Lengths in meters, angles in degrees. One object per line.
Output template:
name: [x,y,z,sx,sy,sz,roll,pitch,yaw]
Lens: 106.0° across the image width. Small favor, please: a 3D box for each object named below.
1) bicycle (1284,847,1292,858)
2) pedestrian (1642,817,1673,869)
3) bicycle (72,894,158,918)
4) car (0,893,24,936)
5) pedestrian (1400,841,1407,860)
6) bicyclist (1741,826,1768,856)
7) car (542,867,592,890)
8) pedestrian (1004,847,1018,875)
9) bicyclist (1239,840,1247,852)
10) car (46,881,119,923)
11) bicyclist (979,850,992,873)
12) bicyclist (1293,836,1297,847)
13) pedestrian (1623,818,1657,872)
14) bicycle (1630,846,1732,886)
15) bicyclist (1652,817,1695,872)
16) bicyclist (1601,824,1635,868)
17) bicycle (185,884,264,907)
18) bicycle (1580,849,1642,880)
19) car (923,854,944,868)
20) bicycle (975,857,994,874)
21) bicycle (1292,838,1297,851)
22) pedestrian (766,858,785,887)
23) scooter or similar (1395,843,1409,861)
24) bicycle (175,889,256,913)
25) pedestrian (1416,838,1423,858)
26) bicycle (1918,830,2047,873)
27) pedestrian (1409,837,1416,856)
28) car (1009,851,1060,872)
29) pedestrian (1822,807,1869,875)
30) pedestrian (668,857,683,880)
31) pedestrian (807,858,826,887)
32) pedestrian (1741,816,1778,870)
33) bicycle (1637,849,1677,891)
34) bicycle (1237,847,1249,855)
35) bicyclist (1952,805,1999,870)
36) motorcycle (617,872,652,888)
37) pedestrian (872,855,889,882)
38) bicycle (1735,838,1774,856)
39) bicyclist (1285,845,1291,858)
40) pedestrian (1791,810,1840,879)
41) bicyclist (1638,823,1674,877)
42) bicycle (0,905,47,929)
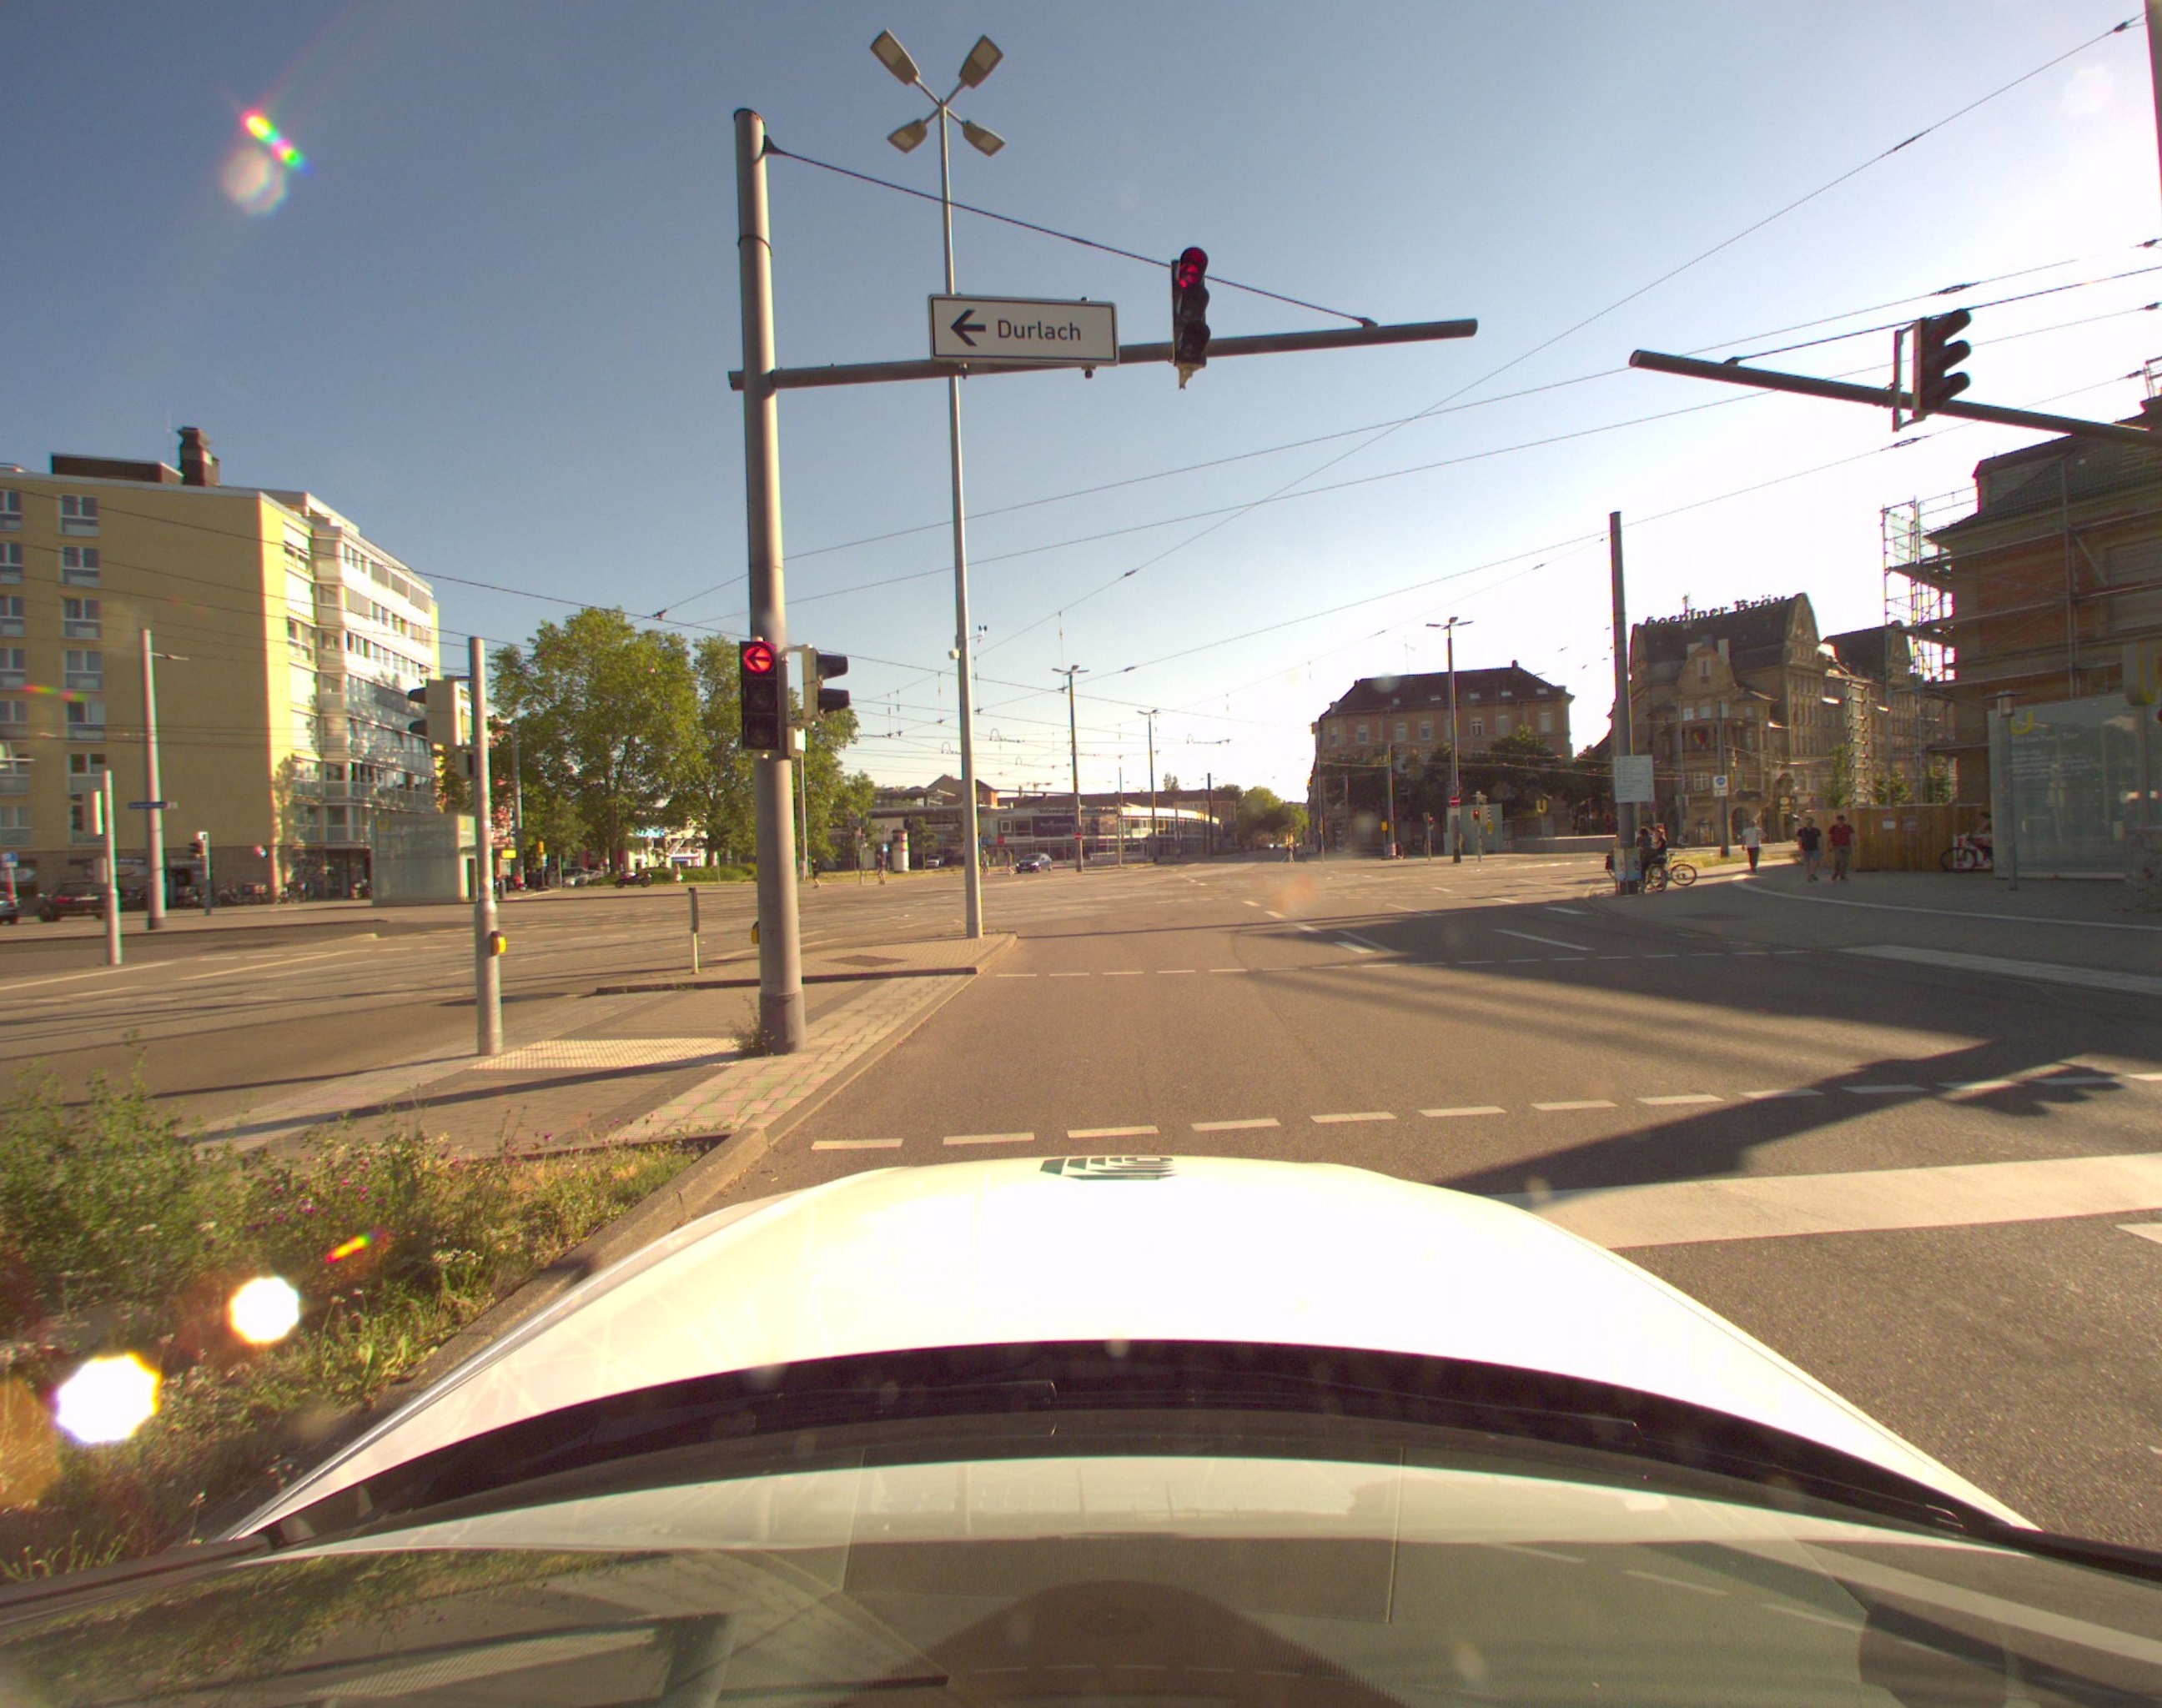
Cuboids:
bicycle: [17.105,-0.111,67.244,0.407,0.941,1.855,-1,-1,21]
pedestrian: [21.795,-0.414,30.821,0.646,1.922,0.689,0,-1,-6]
bicycle: [-50.297,2.708,42.447,3.041,1.151,0.637,0,-1,-16]
car: [-47.069,2.582,34.854,3.948,1.706,2.013,-1,-1,35]
pedestrian: [33.957,-0.403,85.839,0.598,2.013,0.649,-2,0,16]
bicyclist: [35.757,-0.669,43.250,1.046,1.547,0.842,0,-1,-34]
car: [-37.310,1.719,59.226,1.772,1.567,3.983,0,-1,-12]
pedestrian: [-4.791,0.452,55.565,0.790,1.886,0.760,-1,-1,9]
bicyclist: [21.107,-1.057,106.044,0.775,1.577,0.755,0,-1,-27]
car: [-44.224,2.073,36.039,3.948,1.706,1.730,-1,-1,35]
bicyclist: [-7.046,0.555,60.048,0.593,1.615,0.826,-1,-1,19]
bicyclist: [33.291,-1.933,126.889,0.595,1.809,0.830,-1,-1,15]
pedestrian: [21.039,-0.332,30.657,0.730,2.014,0.760,0,-1,-6]
bicycle: [17.350,0.363,23.624,2.290,1.049,0.705,-3,-2,32]
bicyclist: [17.228,-0.272,23.703,0.935,1.557,0.715,-1,-1,33]
bicyclist: [19.188,-0.267,29.096,0.514,1.557,0.945,0,-1,-6]
bicycle: [-46.508,2.259,44.249,3.041,1.151,0.637,0,-1,-16]
bicycle: [19.144,0.351,29.500,0.533,1.049,2.315,0,1,-6]
car: [-18.034,0.856,99.828,1.988,1.750,3.997,0,-1,-2]
bicycle: [-7.083,0.851,59.957,0.607,1.189,1.878,-1,-1,19]
bicycle: [33.288,-1.530,126.910,0.613,2.014,2.410,-1,-1,16]
pedestrian: [-18.408,1.104,49.016,0.790,1.706,0.760,-1,-1,9]
scooter or similar: [24.812,-0.176,62.981,0.780,1.376,1.916,-1,-1,16]
bicycle: [-46.268,2.497,43.558,3.041,1.151,0.637,0,-1,-16]
pedestrian: [35.198,-0.627,84.666,0.598,2.013,0.649,-2,0,16]
bicycle: [25.062,-0.056,22.703,0.538,1.049,2.296,-4,-1,-33]
pedestrian: [35.028,-0.820,86.084,0.598,2.013,0.649,-2,0,16]
car: [-3.509,0.565,62.034,1.975,1.585,4.024,-1,-1,29]
pedestrian: [20.715,-0.340,22.076,0.672,1.807,0.680,0,-1,-19]
pedestrian: [-30.306,1.080,60.871,0.854,1.694,0.497,0,-1,-1]
pedestrian: [-15.349,1.067,47.314,0.790,1.706,0.760,-1,-1,9]
pedestrian: [23.090,-0.352,27.709,0.646,1.814,0.689,0,-1,-6]
bicycle: [15.860,0.423,22.460,0.692,1.049,2.335,-2,0,31]
bicycle: [21.090,-0.392,106.125,0.661,0.952,1.585,0,-1,-28]
bicyclist: [25.011,-0.444,22.768,0.525,1.779,0.787,0,-1,-34]
motorcycle: [-27.266,1.577,49.746,1.779,0.914,0.675,0,-1,-19]
pedestrian: [-12.721,0.930,51.641,0.790,1.706,0.760,-1,-1,9]
bicycle: [35.824,-0.354,43.306,2.637,0.914,0.898,0,-1,-35]
bicyclist: [17.160,-0.204,67.397,0.405,1.116,0.401,-1,-1,20]
pedestrian: [19.856,-0.253,22.028,0.672,1.807,0.680,-3,0,-19]
bicyclist: [15.885,-0.097,22.506,0.701,1.439,0.953,-1,-1,30]
bicycle: [-54.440,3.211,41.060,3.041,1.151,0.637,0,-1,-16]
